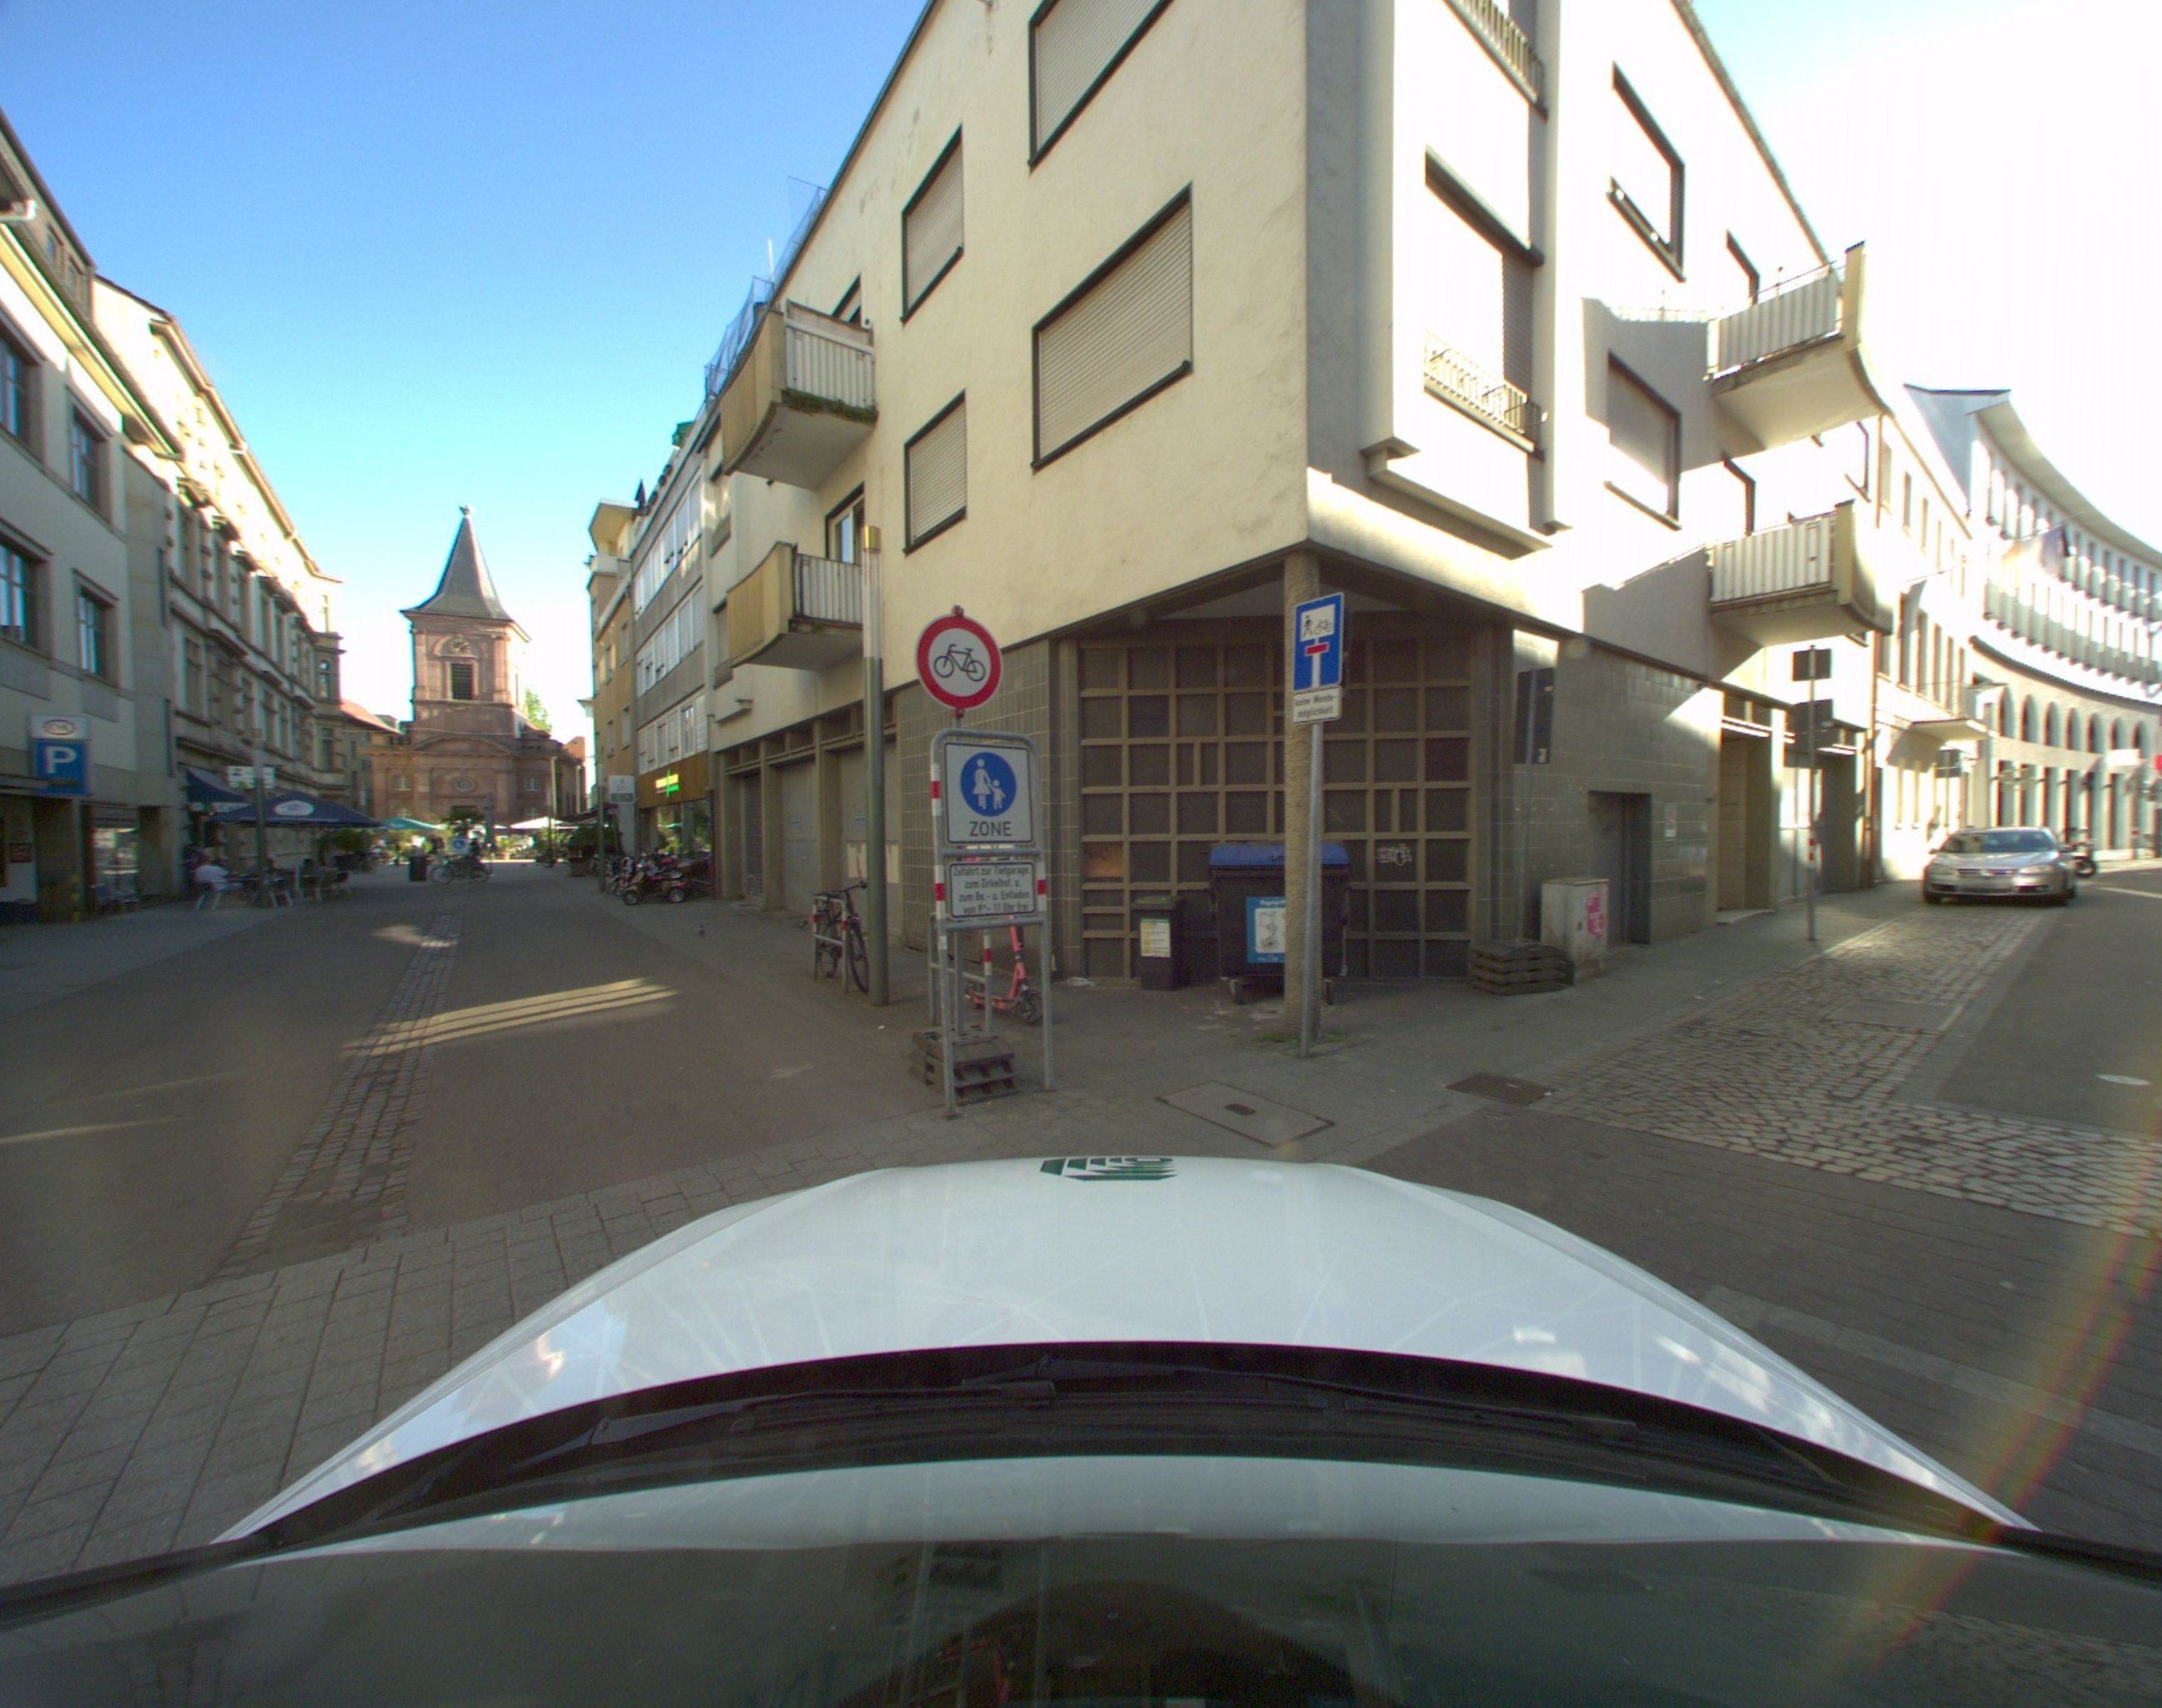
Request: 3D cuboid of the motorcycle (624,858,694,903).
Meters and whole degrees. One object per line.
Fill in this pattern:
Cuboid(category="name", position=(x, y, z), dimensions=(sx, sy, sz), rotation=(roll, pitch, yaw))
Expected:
Cuboid(category="motorcycle", position=(-10.740, 0.665, 20.775), dimensions=(1.521, 1.075, 0.409), rotation=(-1, 1, -19))

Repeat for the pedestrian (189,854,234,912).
Cuboid(category="pedestrian", position=(-21.405, 0.688, 20.056), dimensions=(0.711, 1.368, 0.714), rotation=(1, 1, 41))

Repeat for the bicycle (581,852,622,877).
Cuboid(category="bicycle", position=(-19.811, 0.433, 33.674), dimensions=(1.472, 1.004, 0.567), rotation=(-1, 1, -30))

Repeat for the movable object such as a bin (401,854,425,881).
Cuboid(category="movable object such as a bin", position=(-26.888, 0.541, 32.773), dimensions=(0.727, 1.074, 0.370), rotation=(-1, 1, -38))

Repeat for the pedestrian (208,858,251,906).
Cuboid(category="pedestrian", position=(-23.138, 0.745, 22.137), dimensions=(0.772, 1.233, 0.821), rotation=(-1, 1, -45))

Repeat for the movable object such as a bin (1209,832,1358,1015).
Cuboid(category="movable object such as a bin", position=(1.874, 0.594, 7.788), dimensions=(1.280, 1.589, 1.158), rotation=(0, 2, 8))

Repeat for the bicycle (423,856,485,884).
Cuboid(category="bicycle", position=(-23.830, 0.611, 30.979), dimensions=(1.839, 1.004, 0.377), rotation=(-1, 1, -40))

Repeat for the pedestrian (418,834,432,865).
Cuboid(category="pedestrian", position=(-38.178, -0.277, 47.411), dimensions=(0.620, 1.808, 0.608), rotation=(-1, 1, -41))

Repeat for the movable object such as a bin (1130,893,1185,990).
Cuboid(category="movable object such as a bin", position=(0.780, 0.875, 8.276), dimensions=(0.537, 0.923, 0.514), rotation=(-1, 1, 6))

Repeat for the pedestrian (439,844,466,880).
Cuboid(category="pedestrian", position=(-26.612, 0.320, 34.488), dimensions=(0.890, 1.464, 0.723), rotation=(-1, 1, -36))

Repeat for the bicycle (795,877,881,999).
Cuboid(category="bicycle", position=(-2.628, 0.833, 8.707), dimensions=(0.449, 1.140, 1.693), rotation=(0, 0, -32))

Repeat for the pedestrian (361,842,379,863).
Cuboid(category="pedestrian", position=(-43.045, -0.088, 49.318), dimensions=(0.705, 1.217, 0.712), rotation=(-1, 1, -31))

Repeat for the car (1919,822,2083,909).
Cuboid(category="car", position=(17.764, 0.173, 15.689), dimensions=(3.830, 1.470, 1.751), rotation=(-1, 0, -37))

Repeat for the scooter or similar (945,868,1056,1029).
Cuboid(category="scooter or similar", position=(-0.728, 0.768, 7.082), dimensions=(0.309, 1.252, 1.224), rotation=(-1, 1, -40))

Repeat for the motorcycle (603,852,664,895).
Cuboid(category="motorcycle", position=(-13.059, 0.558, 23.780), dimensions=(1.489, 1.181, 0.409), rotation=(-1, 1, -22))

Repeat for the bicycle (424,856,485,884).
Cuboid(category="bicycle", position=(-24.078, 0.599, 31.304), dimensions=(1.839, 1.004, 0.377), rotation=(-1, 1, -40))

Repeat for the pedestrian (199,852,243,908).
Cuboid(category="pedestrian", position=(-22.039, 0.653, 20.864), dimensions=(0.701, 1.368, 0.724), rotation=(1, 1, 41))

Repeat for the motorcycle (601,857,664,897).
Cuboid(category="motorcycle", position=(-12.689, 0.640, 23.083), dimensions=(1.488, 1.075, 0.409), rotation=(-1, 1, -19))

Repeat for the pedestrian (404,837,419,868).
Cuboid(category="pedestrian", position=(-39.117, -0.114, 47.582), dimensions=(0.620, 1.808, 0.608), rotation=(-1, 1, -41))

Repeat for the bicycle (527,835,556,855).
Cuboid(category="bicycle", position=(-35.688, -0.588, 53.898), dimensions=(0.361, 1.308, 1.600), rotation=(0, 1, 25))

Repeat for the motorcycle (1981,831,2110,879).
Cuboid(category="motorcycle", position=(26.720, 0.020, 22.635), dimensions=(0.574, 1.245, 2.277), rotation=(-1, 0, -16))

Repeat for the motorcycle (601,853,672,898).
Cuboid(category="motorcycle", position=(-12.270, 0.592, 22.535), dimensions=(1.629, 1.175, 0.477), rotation=(-1, 1, -19))

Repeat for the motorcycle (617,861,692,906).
Cuboid(category="motorcycle", position=(-10.495, 0.723, 20.064), dimensions=(1.569, 1.041, 0.370), rotation=(-1, 1, -19))

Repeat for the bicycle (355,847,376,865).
Cuboid(category="bicycle", position=(-34.069, 0.080, 38.788), dimensions=(0.460, 0.849, 2.124), rotation=(-1, 1, -33))

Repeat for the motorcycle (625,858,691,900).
Cuboid(category="motorcycle", position=(-11.252, 0.655, 21.692), dimensions=(1.488, 1.075, 0.409), rotation=(-1, 1, -19))

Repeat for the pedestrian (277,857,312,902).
Cuboid(category="pedestrian", position=(-22.470, 0.717, 23.266), dimensions=(0.698, 1.215, 0.576), rotation=(-1, 1, -45))

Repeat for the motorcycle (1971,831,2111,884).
Cuboid(category="motorcycle", position=(23.762, 0.071, 20.232), dimensions=(0.574, 1.245, 2.201), rotation=(-1, 0, -16))

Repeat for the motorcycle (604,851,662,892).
Cuboid(category="motorcycle", position=(-13.644, 0.519, 24.820), dimensions=(1.489, 1.181, 0.409), rotation=(-1, 1, -22))
